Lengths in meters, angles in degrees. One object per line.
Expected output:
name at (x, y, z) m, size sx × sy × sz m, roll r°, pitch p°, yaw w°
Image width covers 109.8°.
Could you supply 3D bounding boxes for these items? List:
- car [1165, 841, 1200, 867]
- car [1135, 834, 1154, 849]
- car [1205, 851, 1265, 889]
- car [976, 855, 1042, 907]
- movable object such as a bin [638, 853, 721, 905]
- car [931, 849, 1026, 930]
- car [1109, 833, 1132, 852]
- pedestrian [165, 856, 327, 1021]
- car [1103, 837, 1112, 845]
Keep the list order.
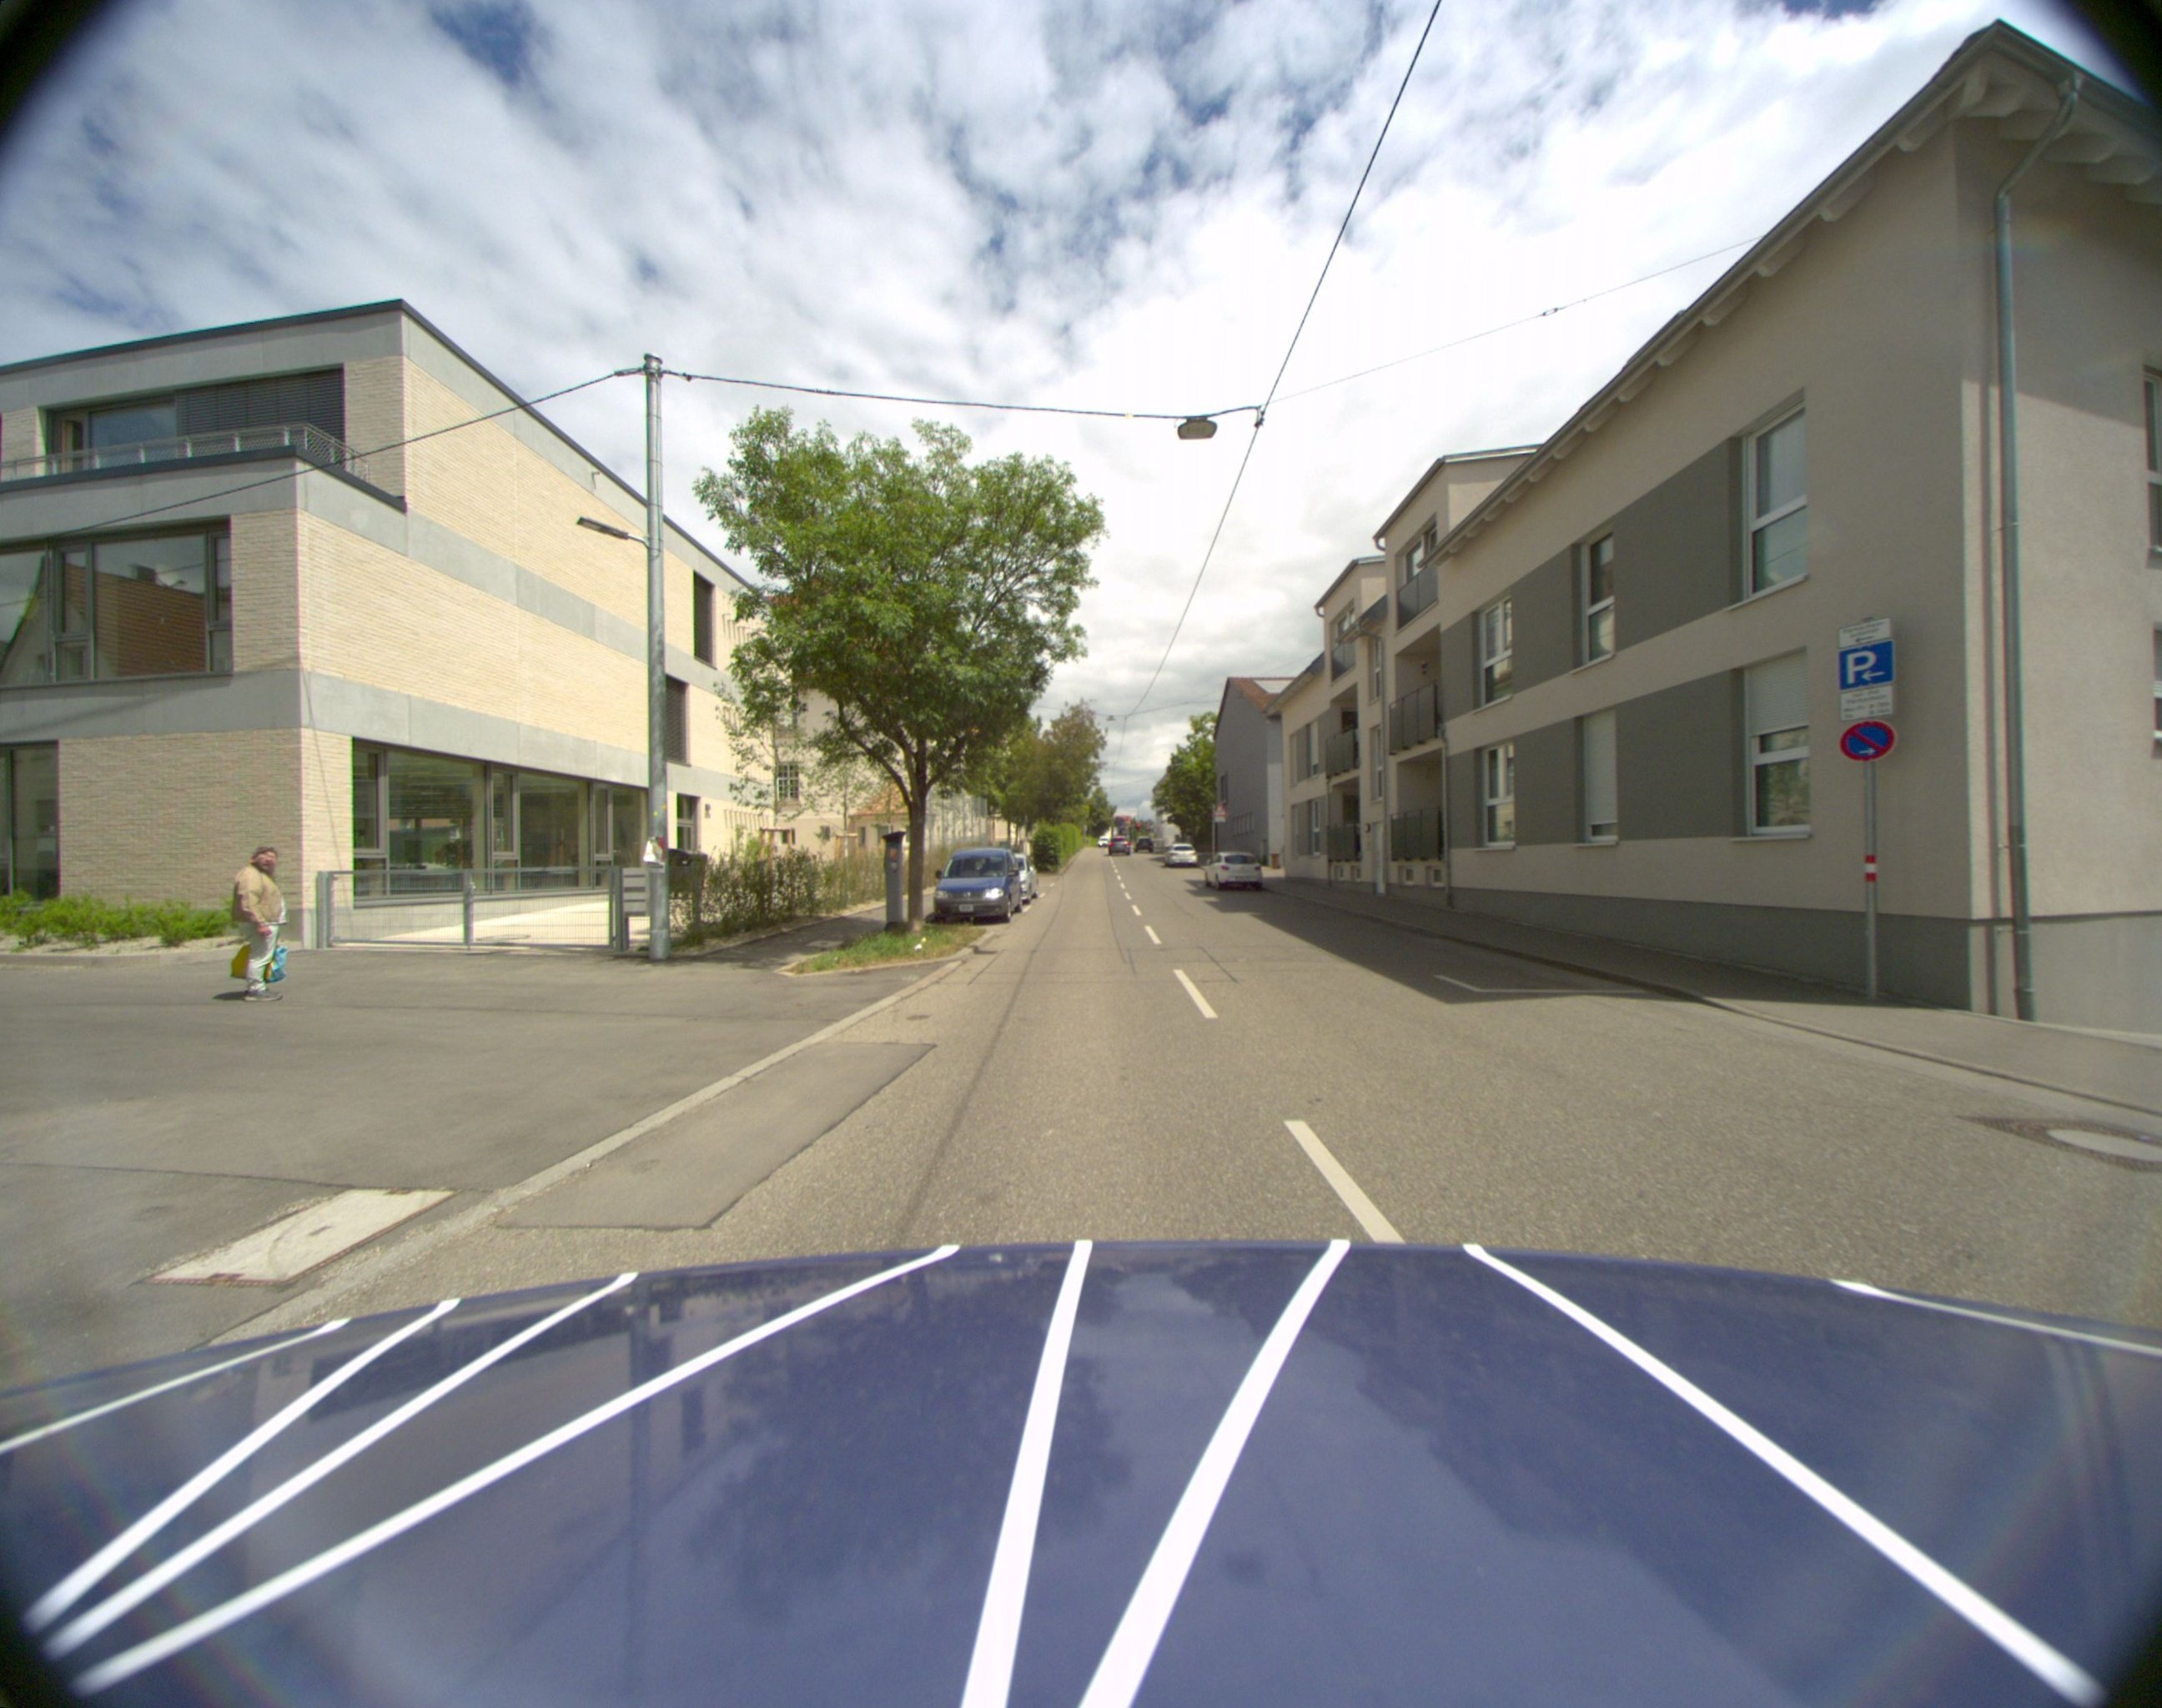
car at (6.258, -0.031, 47.292) m, size 1.737 × 1.480 × 4.065 m, roll 0°, pitch 2°, yaw 1°
car at (6.701, -1.334, 80.459) m, size 1.672 × 1.545 × 3.964 m, roll 0°, pitch 2°, yaw 1°
car at (5.889, 0.587, 29.325) m, size 1.665 × 1.322 × 3.473 m, roll 0°, pitch 1°, yaw 1°
car at (-2.262, 0.808, 24.668) m, size 1.677 × 1.510 × 3.670 m, roll -1°, pitch 1°, yaw 1°
movable object such as a bin at (-11.561, 0.695, 21.965) m, size 1.351 × 1.438 × 1.807 m, roll -1°, pitch 0°, yaw 2°
car at (-2.424, 0.770, 18.936) m, size 1.698 × 1.733 × 4.159 m, roll -1°, pitch 1°, yaw 1°
car at (3.624, -1.050, 70.318) m, size 1.946 × 1.709 × 4.596 m, roll -1°, pitch 1°, yaw 0°
pedestrian at (-9.113, 0.880, 8.335) m, size 0.775 × 1.693 × 0.829 m, roll -2°, pitch 1°, yaw 0°
car at (4.250, -2.088, 122.329) m, size 1.298 × 1.148 × 2.983 m, roll -4°, pitch -1°, yaw 1°
